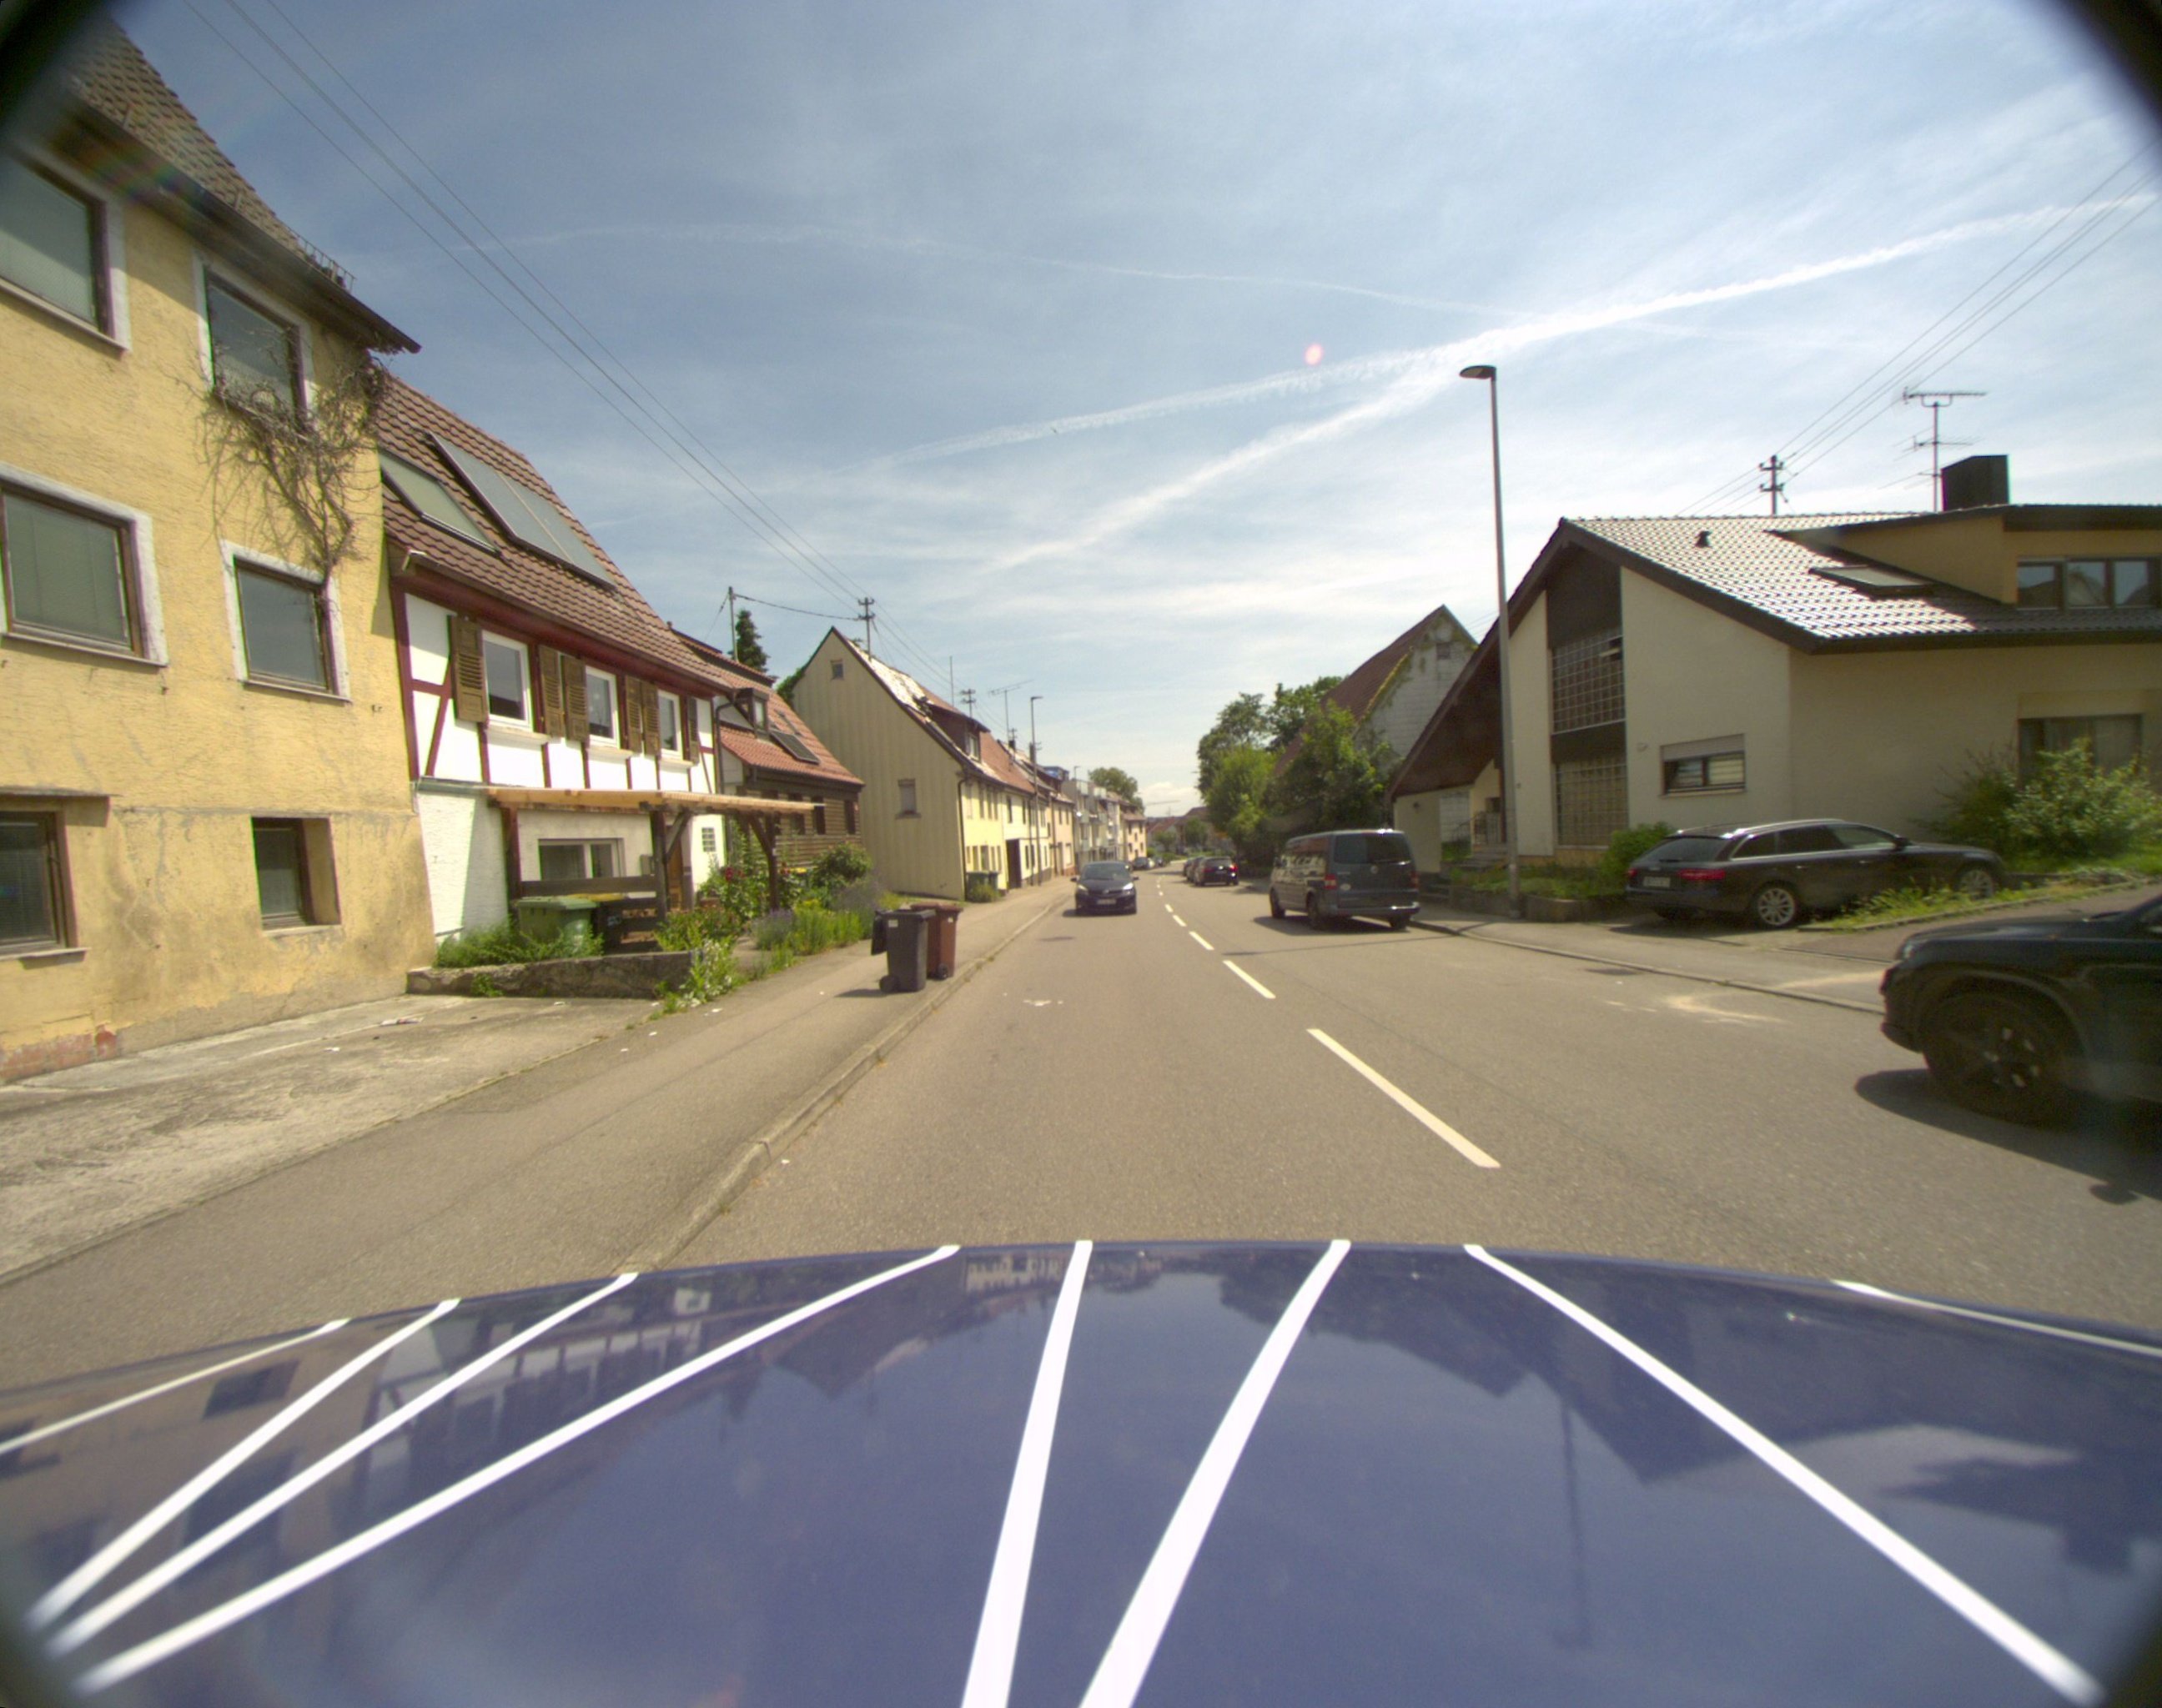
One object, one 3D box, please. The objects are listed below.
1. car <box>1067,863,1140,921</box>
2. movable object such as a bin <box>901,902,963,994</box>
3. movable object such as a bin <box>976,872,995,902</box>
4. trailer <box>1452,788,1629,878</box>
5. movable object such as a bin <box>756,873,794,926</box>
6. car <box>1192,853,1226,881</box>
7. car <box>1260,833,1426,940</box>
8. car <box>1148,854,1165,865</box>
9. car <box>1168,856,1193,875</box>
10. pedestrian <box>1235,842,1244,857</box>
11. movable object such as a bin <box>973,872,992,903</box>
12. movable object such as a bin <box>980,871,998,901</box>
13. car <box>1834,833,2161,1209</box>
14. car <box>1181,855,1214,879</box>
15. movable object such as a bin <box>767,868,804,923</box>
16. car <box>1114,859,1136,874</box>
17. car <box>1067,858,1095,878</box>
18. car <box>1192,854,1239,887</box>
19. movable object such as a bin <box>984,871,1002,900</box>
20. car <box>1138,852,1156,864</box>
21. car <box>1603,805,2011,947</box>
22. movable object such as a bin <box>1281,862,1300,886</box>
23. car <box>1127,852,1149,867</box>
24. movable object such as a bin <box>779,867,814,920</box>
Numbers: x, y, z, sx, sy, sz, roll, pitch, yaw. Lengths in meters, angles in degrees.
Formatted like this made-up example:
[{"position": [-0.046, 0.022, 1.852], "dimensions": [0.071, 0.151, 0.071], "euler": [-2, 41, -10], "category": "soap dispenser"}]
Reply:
[{"position": [0.747, 1.020, 21.979], "dimensions": [1.724, 1.448, 4.432], "euler": [-1, 0, 6], "category": "car"}, {"position": [-1.809, 1.123, 9.235], "dimensions": [0.494, 1.027, 0.549], "euler": [2, 1, 24], "category": "movable object such as a bin"}, {"position": [-3.292, 1.126, 26.211], "dimensions": [0.548, 1.027, 0.552], "euler": [0, 0, 4], "category": "movable object such as a bin"}, {"position": [13.634, -0.612, 22.708], "dimensions": [3.840, 2.002, 2.000], "euler": [-9, 1, 0], "category": "trailer"}, {"position": [-6.458, 0.952, 16.061], "dimensions": [0.536, 1.051, 0.549], "euler": [4, 1, -1], "category": "movable object such as a bin"}, {"position": [7.405, 0.753, 44.282], "dimensions": [1.758, 1.512, 4.303], "euler": [-2, -1, 8], "category": "car"}, {"position": [5.425, 0.590, 16.530], "dimensions": [1.895, 1.926, 4.986], "euler": [-1, 0, 1], "category": "car"}, {"position": [10.561, 0.736, 106.426], "dimensions": [1.791, 1.412, 4.362], "euler": [-2, 0, 14], "category": "car"}, {"position": [8.360, 0.940, 63.408], "dimensions": [1.808, 1.415, 4.932], "euler": [-2, -1, 10], "category": "car"}, {"position": [17.729, -0.516, 85.030], "dimensions": [0.732, 1.607, 0.629], "euler": [-4, 1, -7], "category": "pedestrian"}, {"position": [-3.314, 1.120, 25.573], "dimensions": [0.548, 1.027, 0.552], "euler": [0, 0, 4], "category": "movable object such as a bin"}, {"position": [-3.237, 1.126, 26.814], "dimensions": [0.548, 1.027, 0.552], "euler": [0, 0, 4], "category": "movable object such as a bin"}, {"position": [5.605, 0.708, 2.564], "dimensions": [1.773, 1.626, 4.286], "euler": [-2, 0, -2], "category": "car"}, {"position": [7.575, 0.809, 49.899], "dimensions": [1.792, 1.455, 4.714], "euler": [-2, 0, 5], "category": "car"}, {"position": [-6.469, 0.896, 16.652], "dimensions": [0.536, 1.151, 0.549], "euler": [4, 1, -1], "category": "movable object such as a bin"}, {"position": [4.501, 1.255, 77.597], "dimensions": [1.800, 1.416, 4.293], "euler": [-2, 1, 9], "category": "car"}, {"position": [0.030, 1.006, 57.366], "dimensions": [1.669, 1.344, 4.188], "euler": [-3, 0, 5], "category": "car"}, {"position": [6.675, 0.783, 38.157], "dimensions": [1.823, 1.464, 4.777], "euler": [-2, 0, 4], "category": "car"}, {"position": [-3.185, 1.130, 27.412], "dimensions": [0.548, 1.027, 0.552], "euler": [0, 0, 4], "category": "movable object such as a bin"}, {"position": [8.670, 0.487, 99.806], "dimensions": [1.792, 1.447, 4.720], "euler": [-2, 0, 11], "category": "car"}, {"position": [10.329, 0.286, 11.018], "dimensions": [4.241, 1.397, 1.821], "euler": [-7, 0, -4], "category": "car"}, {"position": [8.442, 0.802, 30.633], "dimensions": [0.502, 0.897, 0.585], "euler": [-7, 1, -1], "category": "movable object such as a bin"}, {"position": [6.760, 0.614, 90.138], "dimensions": [1.957, 1.706, 4.720], "euler": [-2, 0, 11], "category": "car"}, {"position": [-6.467, 0.886, 17.273], "dimensions": [0.536, 1.151, 0.510], "euler": [4, 1, -1], "category": "movable object such as a bin"}]
